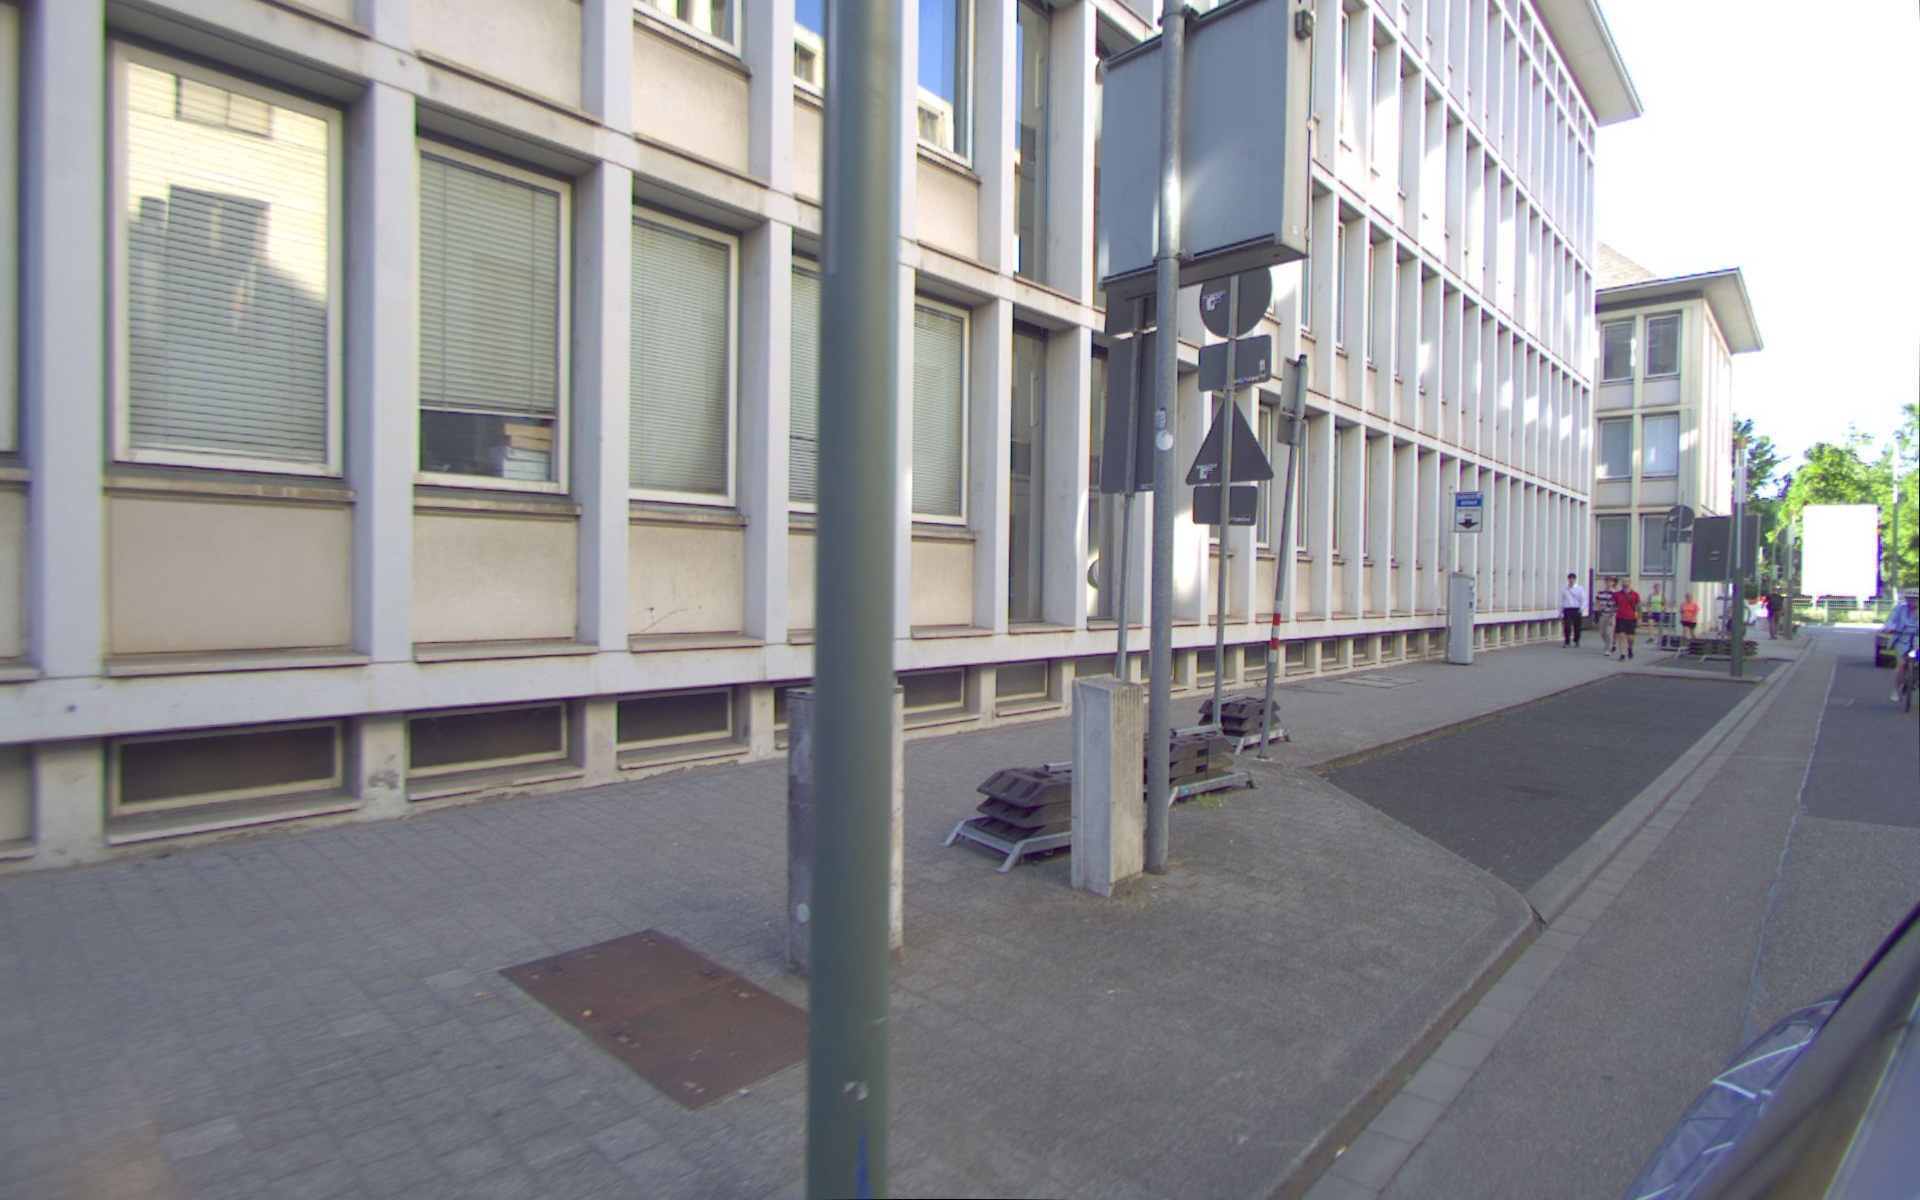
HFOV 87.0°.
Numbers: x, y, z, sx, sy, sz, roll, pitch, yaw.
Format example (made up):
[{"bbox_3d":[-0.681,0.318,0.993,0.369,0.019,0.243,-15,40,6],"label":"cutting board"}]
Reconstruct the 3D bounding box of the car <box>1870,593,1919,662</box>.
[{"bbox_3d":[23.334,0.608,24.371,1.992,1.478,4.371,1,2,41],"label":"car"}]

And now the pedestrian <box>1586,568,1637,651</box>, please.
[{"bbox_3d":[14.936,0.202,23.199,0.684,1.799,0.682,9,6,44],"label":"pedestrian"}]

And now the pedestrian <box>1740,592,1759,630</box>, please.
[{"bbox_3d":[34.923,0.469,44.772,0.623,1.662,0.615,0,1,37],"label":"pedestrian"}]

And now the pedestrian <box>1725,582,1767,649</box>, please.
[{"bbox_3d":[21.041,0.403,27.094,0.684,1.736,0.682,6,4,44],"label":"pedestrian"}]

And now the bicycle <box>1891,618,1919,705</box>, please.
[{"bbox_3d":[13.810,0.851,14.425,0.592,1.097,2.279,0,1,38],"label":"bicycle"}]

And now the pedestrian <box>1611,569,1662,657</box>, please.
[{"bbox_3d":[14.508,0.267,21.700,0.683,1.800,0.584,6,4,44],"label":"pedestrian"}]

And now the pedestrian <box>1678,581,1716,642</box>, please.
[{"bbox_3d":[20.895,0.314,28.683,0.683,1.656,0.682,5,3,44],"label":"pedestrian"}]

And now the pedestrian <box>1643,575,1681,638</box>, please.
[{"bbox_3d":[20.301,0.183,29.267,0.684,1.736,0.682,6,4,44],"label":"pedestrian"}]

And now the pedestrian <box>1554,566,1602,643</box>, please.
[{"bbox_3d":[15.224,0.111,24.928,0.684,1.799,0.682,9,6,44],"label":"pedestrian"}]

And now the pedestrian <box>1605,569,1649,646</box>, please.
[{"bbox_3d":[16.044,0.174,24.355,0.683,1.800,0.682,4,3,44],"label":"pedestrian"}]

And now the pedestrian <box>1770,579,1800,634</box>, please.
[{"bbox_3d":[28.023,0.199,34.371,0.641,1.811,0.567,5,4,43],"label":"pedestrian"}]

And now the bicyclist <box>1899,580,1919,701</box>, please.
[{"bbox_3d":[13.847,0.570,14.464,0.583,1.710,0.531,0,1,39],"label":"bicyclist"}]
